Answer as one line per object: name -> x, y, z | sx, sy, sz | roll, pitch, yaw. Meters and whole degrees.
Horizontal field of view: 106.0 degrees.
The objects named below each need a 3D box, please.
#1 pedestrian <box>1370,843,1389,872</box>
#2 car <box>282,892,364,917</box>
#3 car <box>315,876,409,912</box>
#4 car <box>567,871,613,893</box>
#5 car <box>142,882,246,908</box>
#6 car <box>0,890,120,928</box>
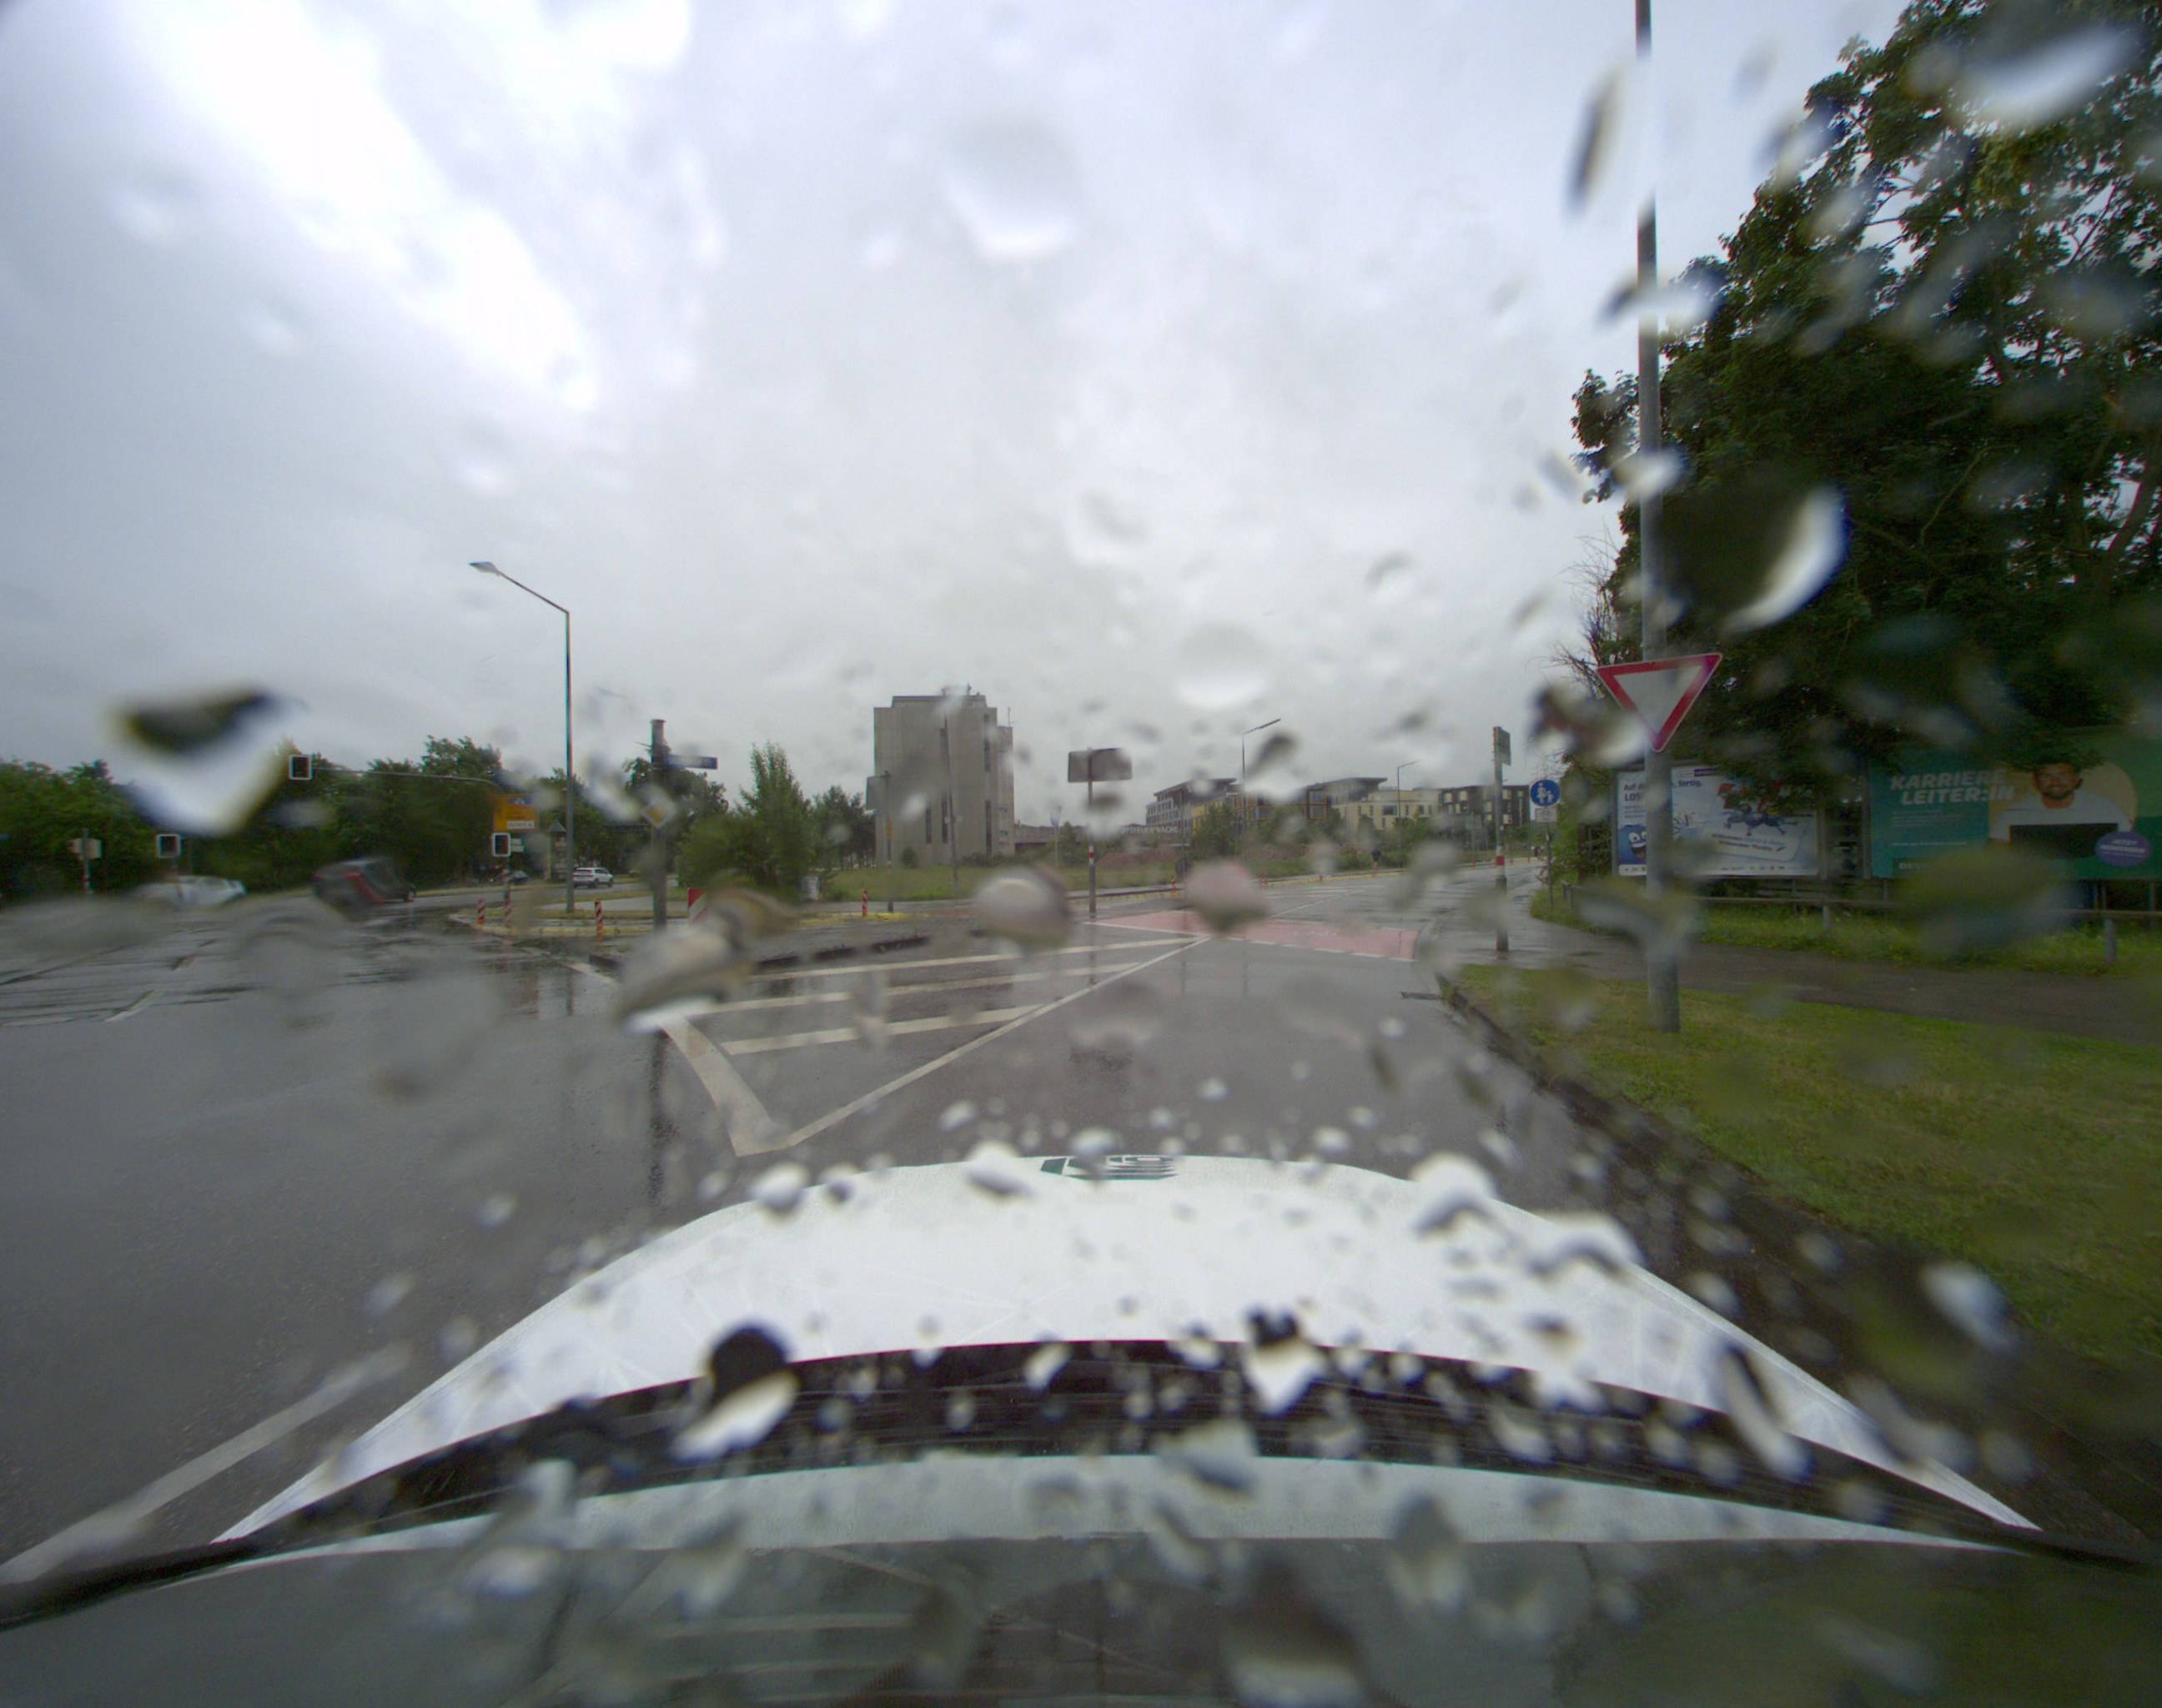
pedestrian -> 21.316, 0.250, 58.161 | 0.838, 2.014, 1.138 | -2, -3, 43
car -> -52.906, 3.517, 56.932 | 1.776, 1.648, 4.001 | 0, -2, 2
car -> -35.449, 1.954, 40.268 | 1.786, 1.648, 3.980 | 1, -2, -14
car -> -38.457, 2.217, 63.858 | 1.680, 1.648, 3.934 | 1, -2, -9
car -> -50.061, 2.280, 46.095 | 1.626, 1.376, 4.236 | 1, -2, -9
car -> -49.218, 2.570, 38.676 | 1.776, 1.648, 4.391 | 0, -2, 3
